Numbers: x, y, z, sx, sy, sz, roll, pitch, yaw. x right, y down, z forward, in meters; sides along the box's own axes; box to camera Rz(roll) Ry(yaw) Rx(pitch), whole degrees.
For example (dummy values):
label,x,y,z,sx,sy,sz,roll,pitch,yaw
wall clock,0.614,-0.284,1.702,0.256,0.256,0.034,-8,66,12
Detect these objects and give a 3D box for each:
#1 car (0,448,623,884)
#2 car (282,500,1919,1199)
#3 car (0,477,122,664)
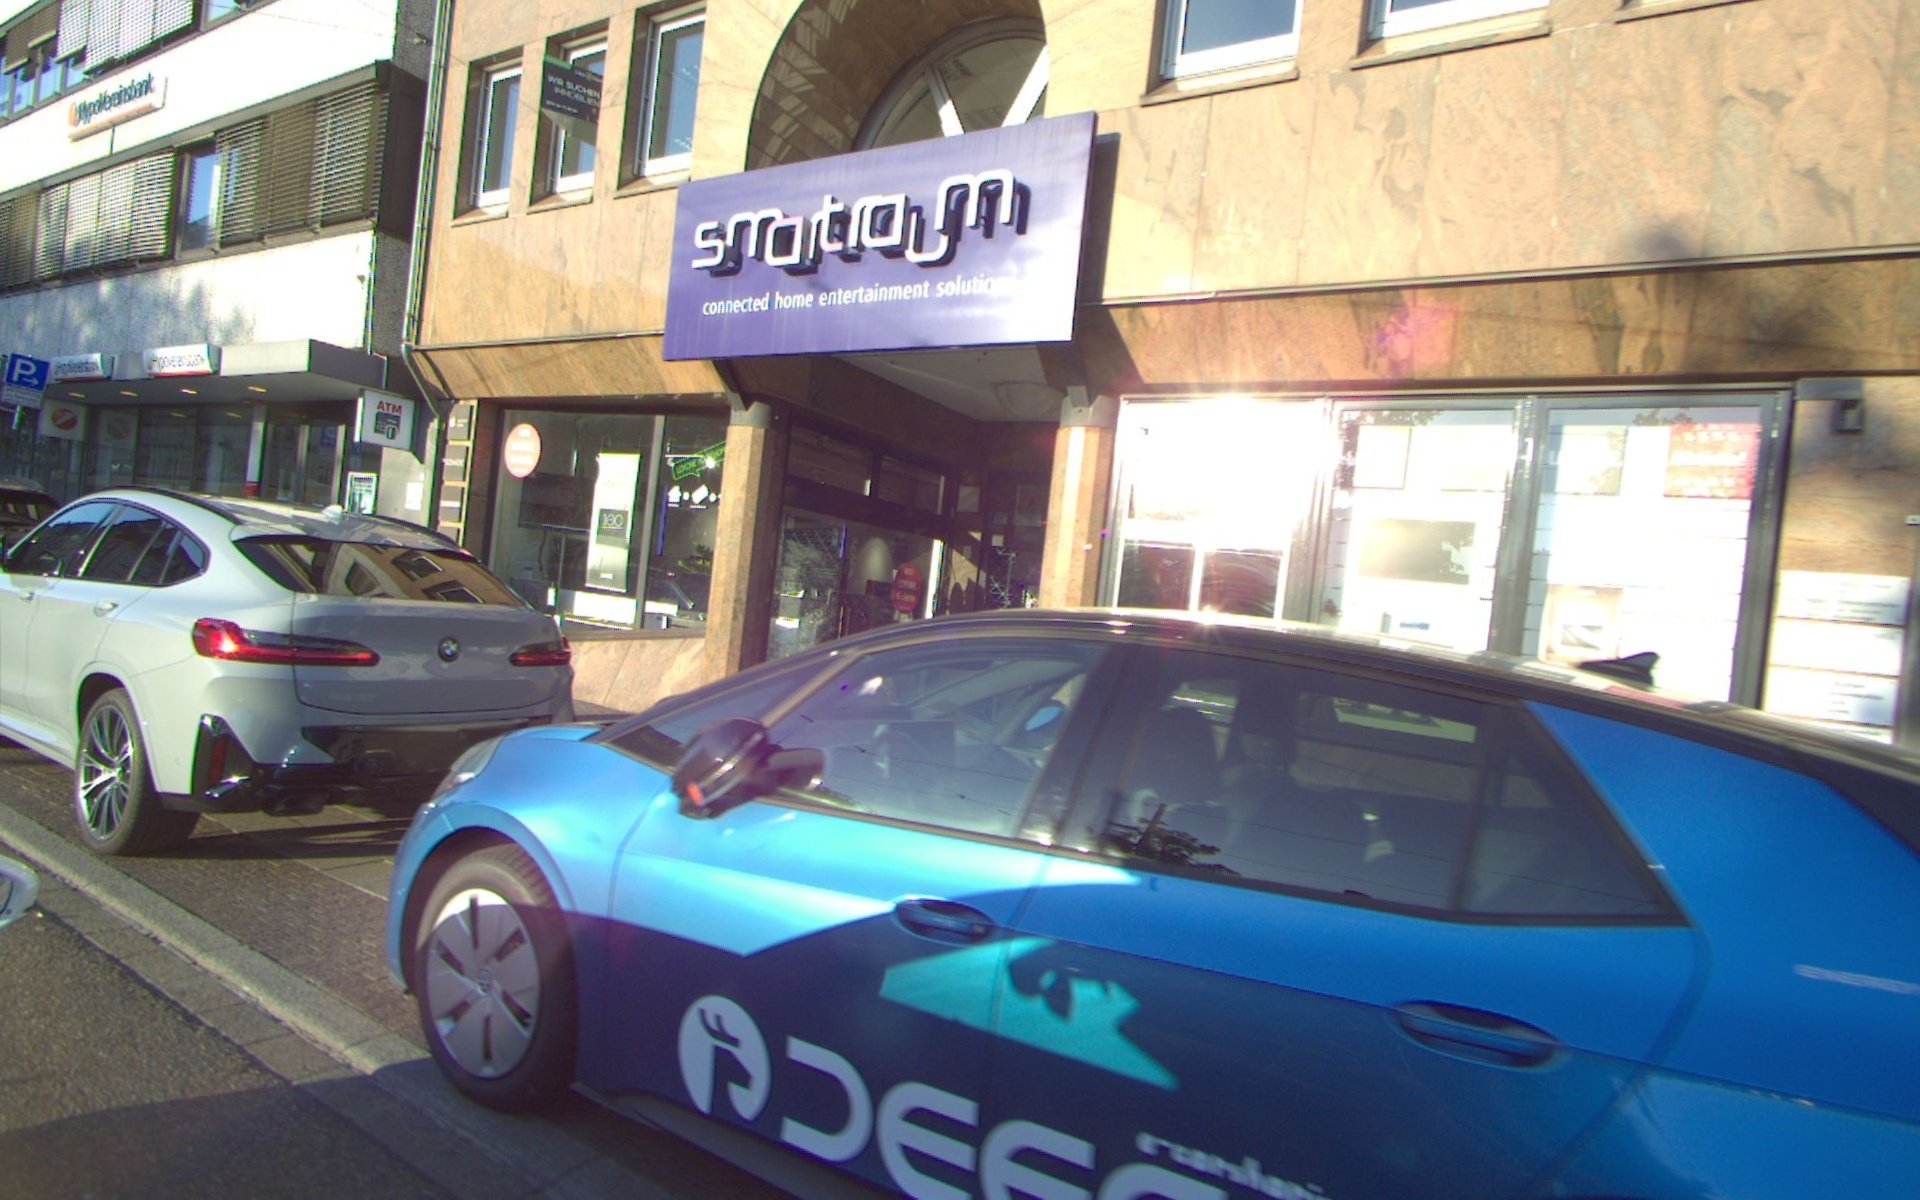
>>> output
label,x,y,z,sx,sy,sz,roll,pitch,yaw
car,-4.270,0.119,5.765,4.646,1.605,1.818,6,0,33
car,0.458,0.752,2.673,4.755,1.571,1.812,6,0,31
car,-10.088,-0.504,9.596,4.501,1.558,1.778,8,1,31
